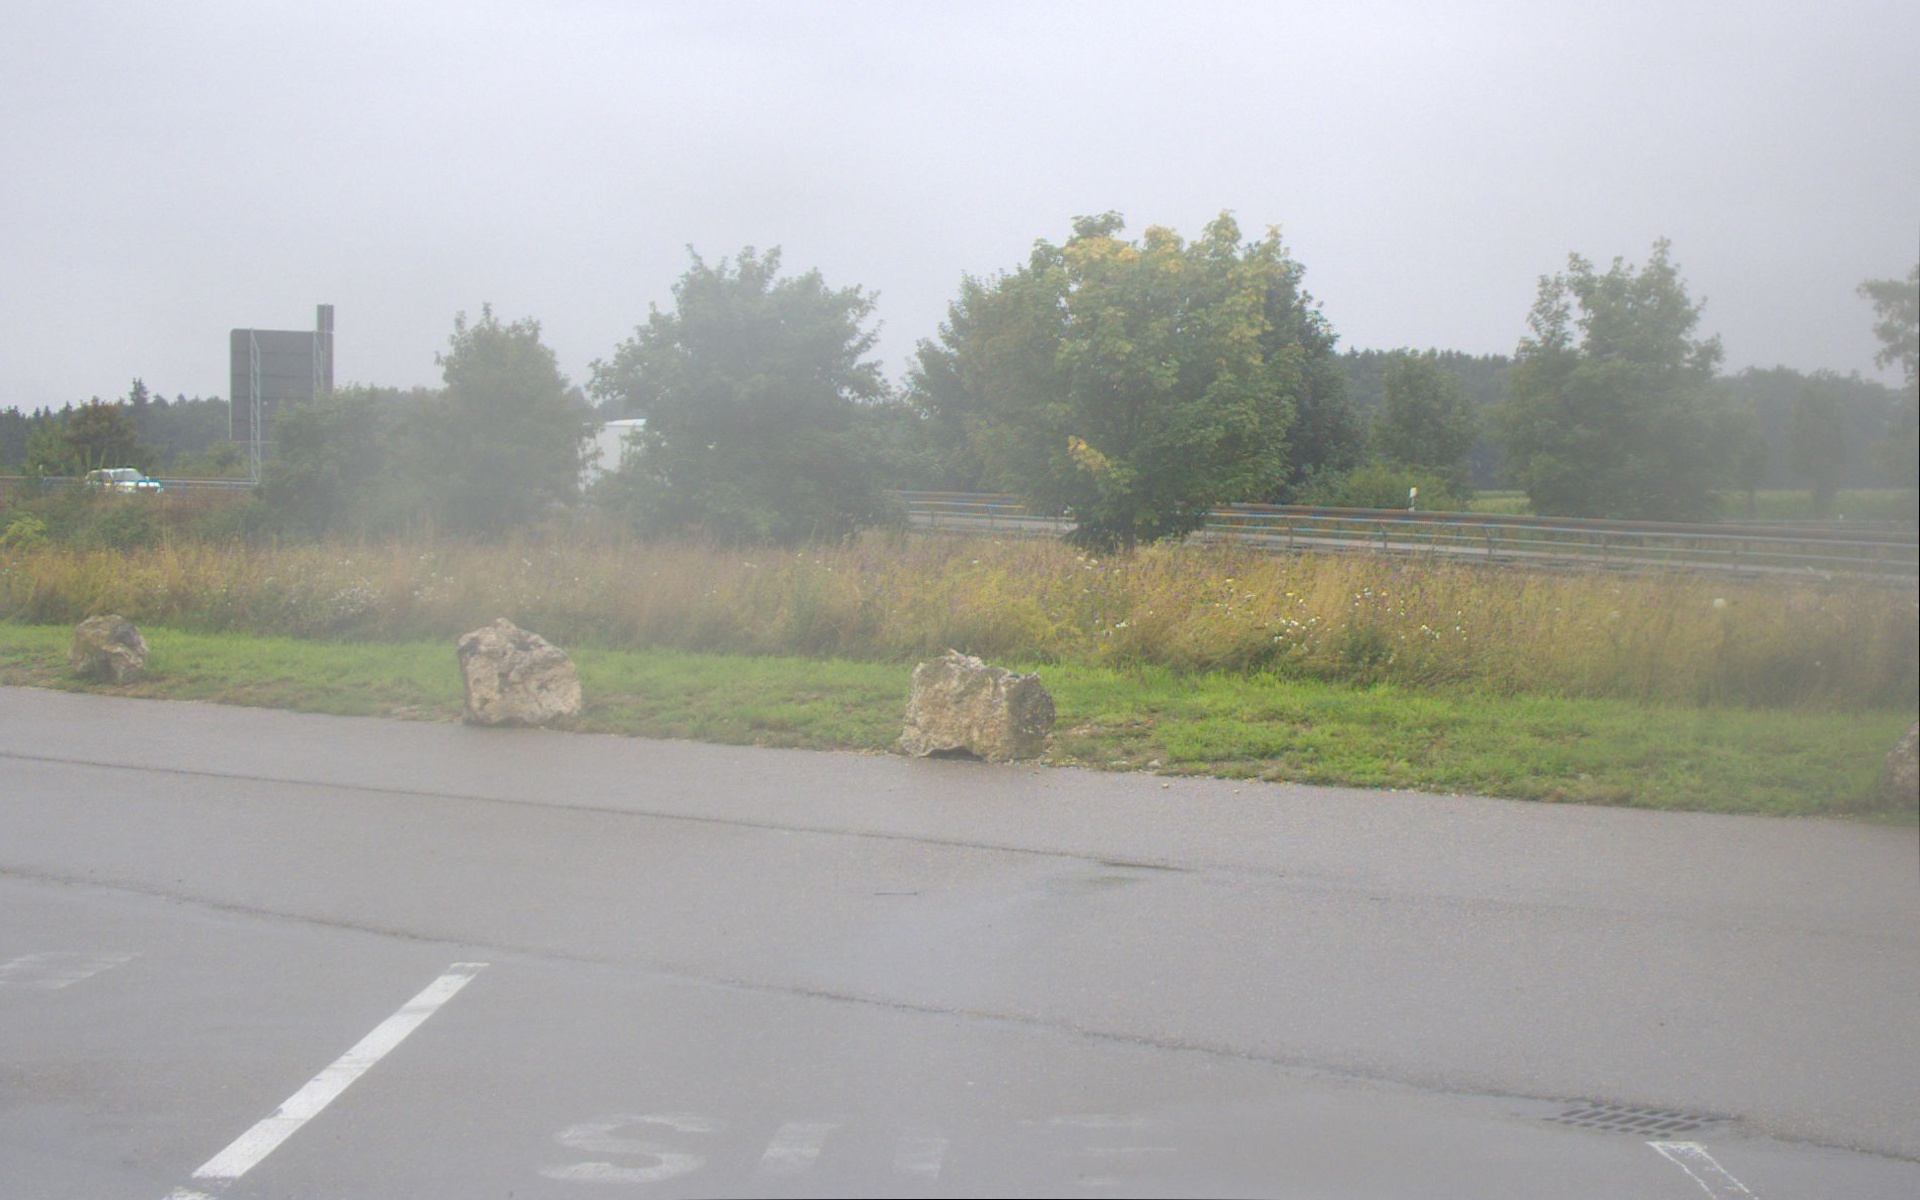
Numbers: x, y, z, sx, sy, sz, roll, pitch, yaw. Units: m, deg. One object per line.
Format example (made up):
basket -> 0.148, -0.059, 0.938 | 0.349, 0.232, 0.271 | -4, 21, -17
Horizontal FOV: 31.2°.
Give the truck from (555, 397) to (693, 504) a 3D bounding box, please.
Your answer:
truck -> -11.195, -4.903, 113.820 | 2.738, 3.379, 8.070 | 0, 2, -19
